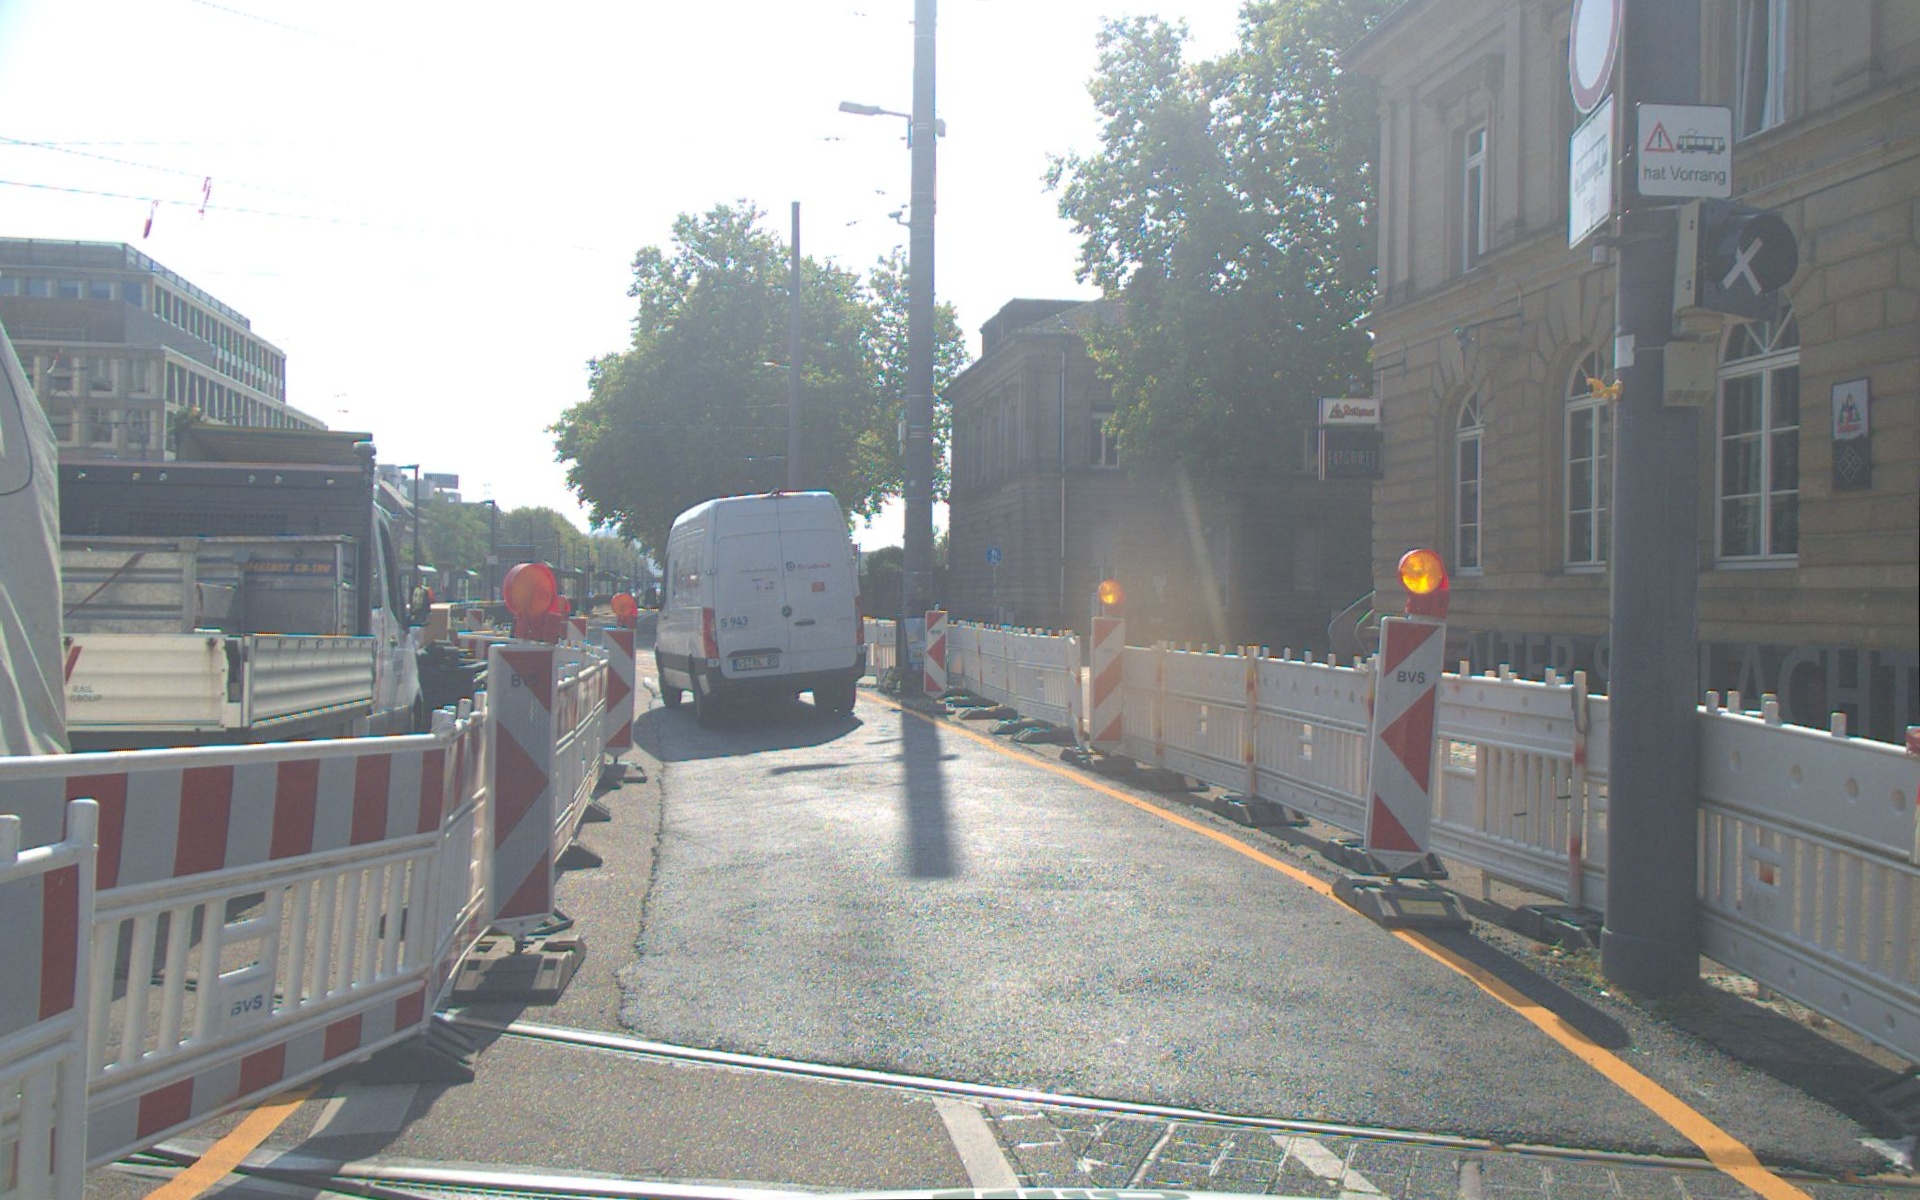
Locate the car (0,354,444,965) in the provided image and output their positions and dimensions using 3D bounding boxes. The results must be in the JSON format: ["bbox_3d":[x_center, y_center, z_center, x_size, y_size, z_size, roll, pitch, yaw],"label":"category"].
[{"bbox_3d":[-4.655,0.244,10.178,2.169,2.467,7.177,0,0,-12],"label":"car"}]

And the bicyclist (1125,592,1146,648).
[{"bbox_3d":[4.962,0.554,46.793,0.581,1.566,0.471,0,0,8],"label":"bicyclist"}]

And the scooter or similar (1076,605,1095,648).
[{"bbox_3d":[3.720,0.781,49.028,0.417,1.250,1.172,0,0,-3],"label":"scooter or similar"}]

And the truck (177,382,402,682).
[{"bbox_3d":[-10.674,-0.949,26.523,2.753,3.981,8.363,2,0,-22],"label":"truck"}]

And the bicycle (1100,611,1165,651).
[{"bbox_3d":[4.885,0.873,46.812,1.812,1.108,0.493,0,0,9],"label":"bicycle"}]

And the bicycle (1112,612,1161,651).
[{"bbox_3d":[5.165,0.915,48.443,0.486,1.017,1.801,0,3,-28],"label":"bicycle"}]

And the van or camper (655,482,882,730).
[{"bbox_3d":[-2.614,0.023,21.284,2.081,2.728,5.229,-2,1,-15],"label":"van or camper"}]
